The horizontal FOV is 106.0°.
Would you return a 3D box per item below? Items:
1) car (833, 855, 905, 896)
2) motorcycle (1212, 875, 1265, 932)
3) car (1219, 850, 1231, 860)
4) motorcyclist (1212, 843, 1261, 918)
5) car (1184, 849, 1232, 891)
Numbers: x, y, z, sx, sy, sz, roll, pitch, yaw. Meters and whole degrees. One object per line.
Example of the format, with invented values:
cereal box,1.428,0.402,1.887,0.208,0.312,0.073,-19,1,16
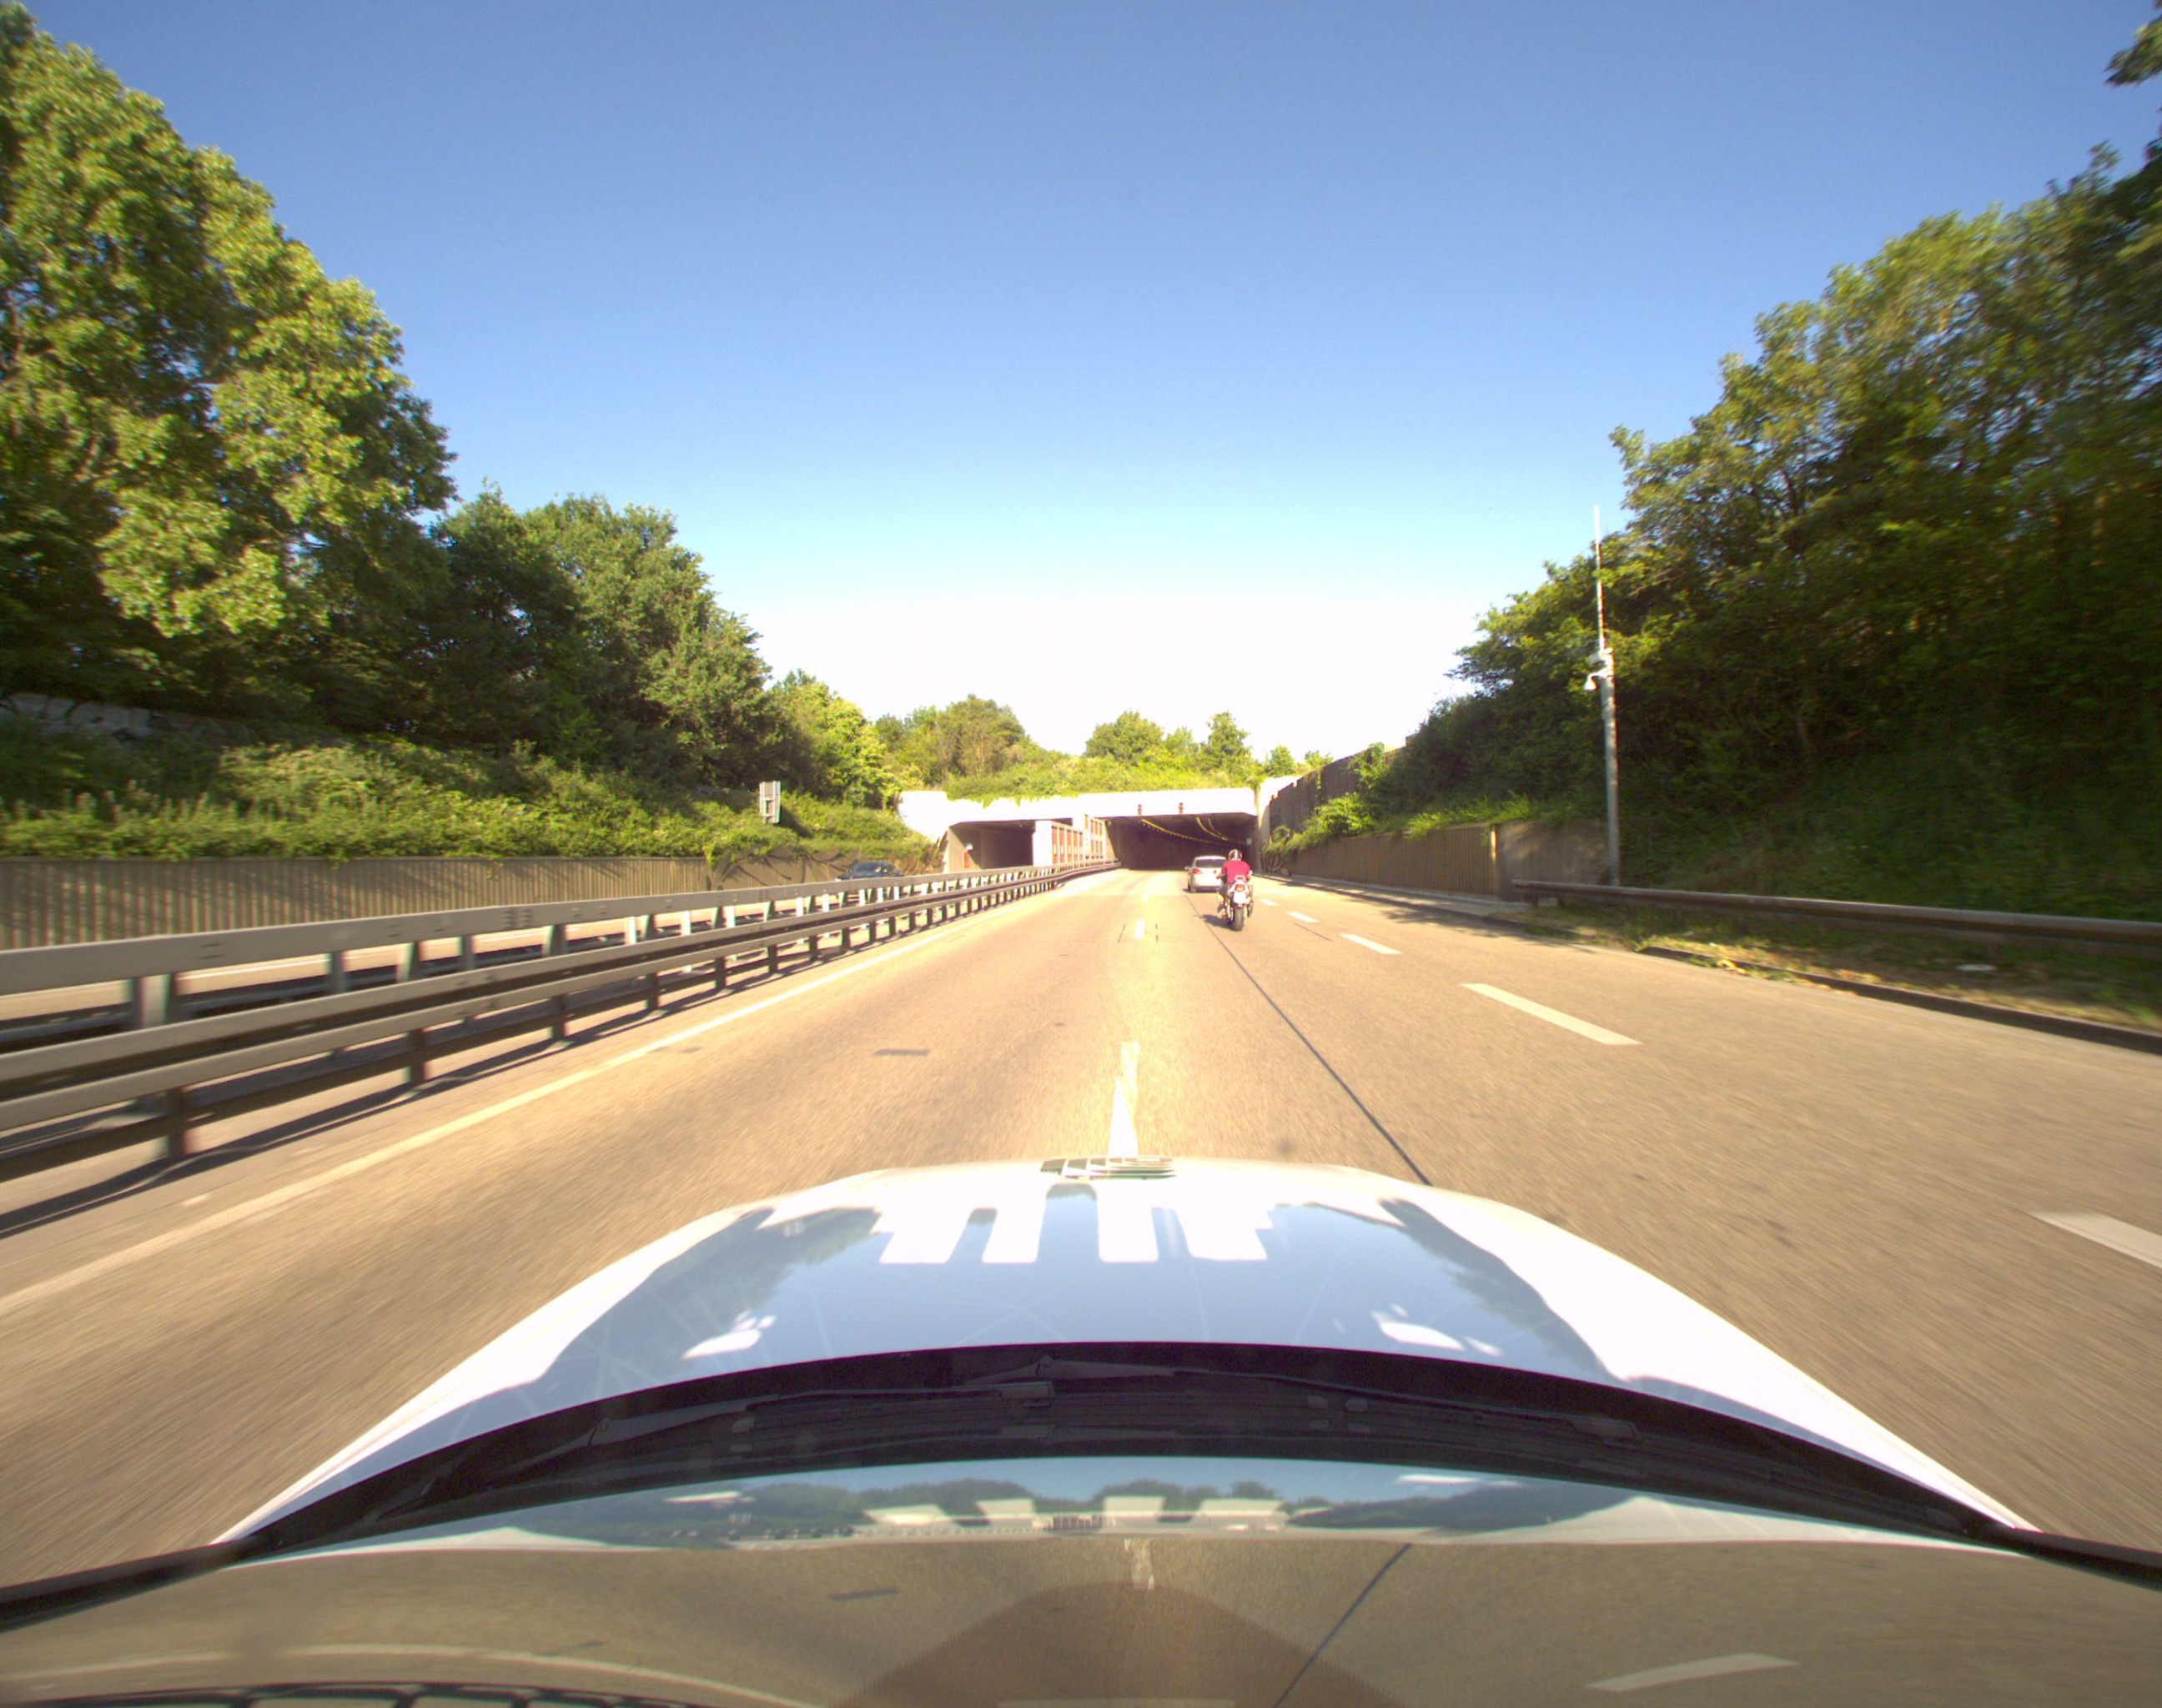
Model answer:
car,-9.755,0.933,37.886,1.659,1.675,4.871,0,1,5
motorcycle,3.175,0.969,16.651,0.854,0.991,2.733,-1,0,6
car,29.333,0.171,165.743,1.979,1.925,4.015,-2,1,13
motorcyclist,3.189,0.519,16.759,0.879,1.501,1.064,0,1,5
car,5.158,0.610,33.524,1.659,1.552,4.005,0,1,4
